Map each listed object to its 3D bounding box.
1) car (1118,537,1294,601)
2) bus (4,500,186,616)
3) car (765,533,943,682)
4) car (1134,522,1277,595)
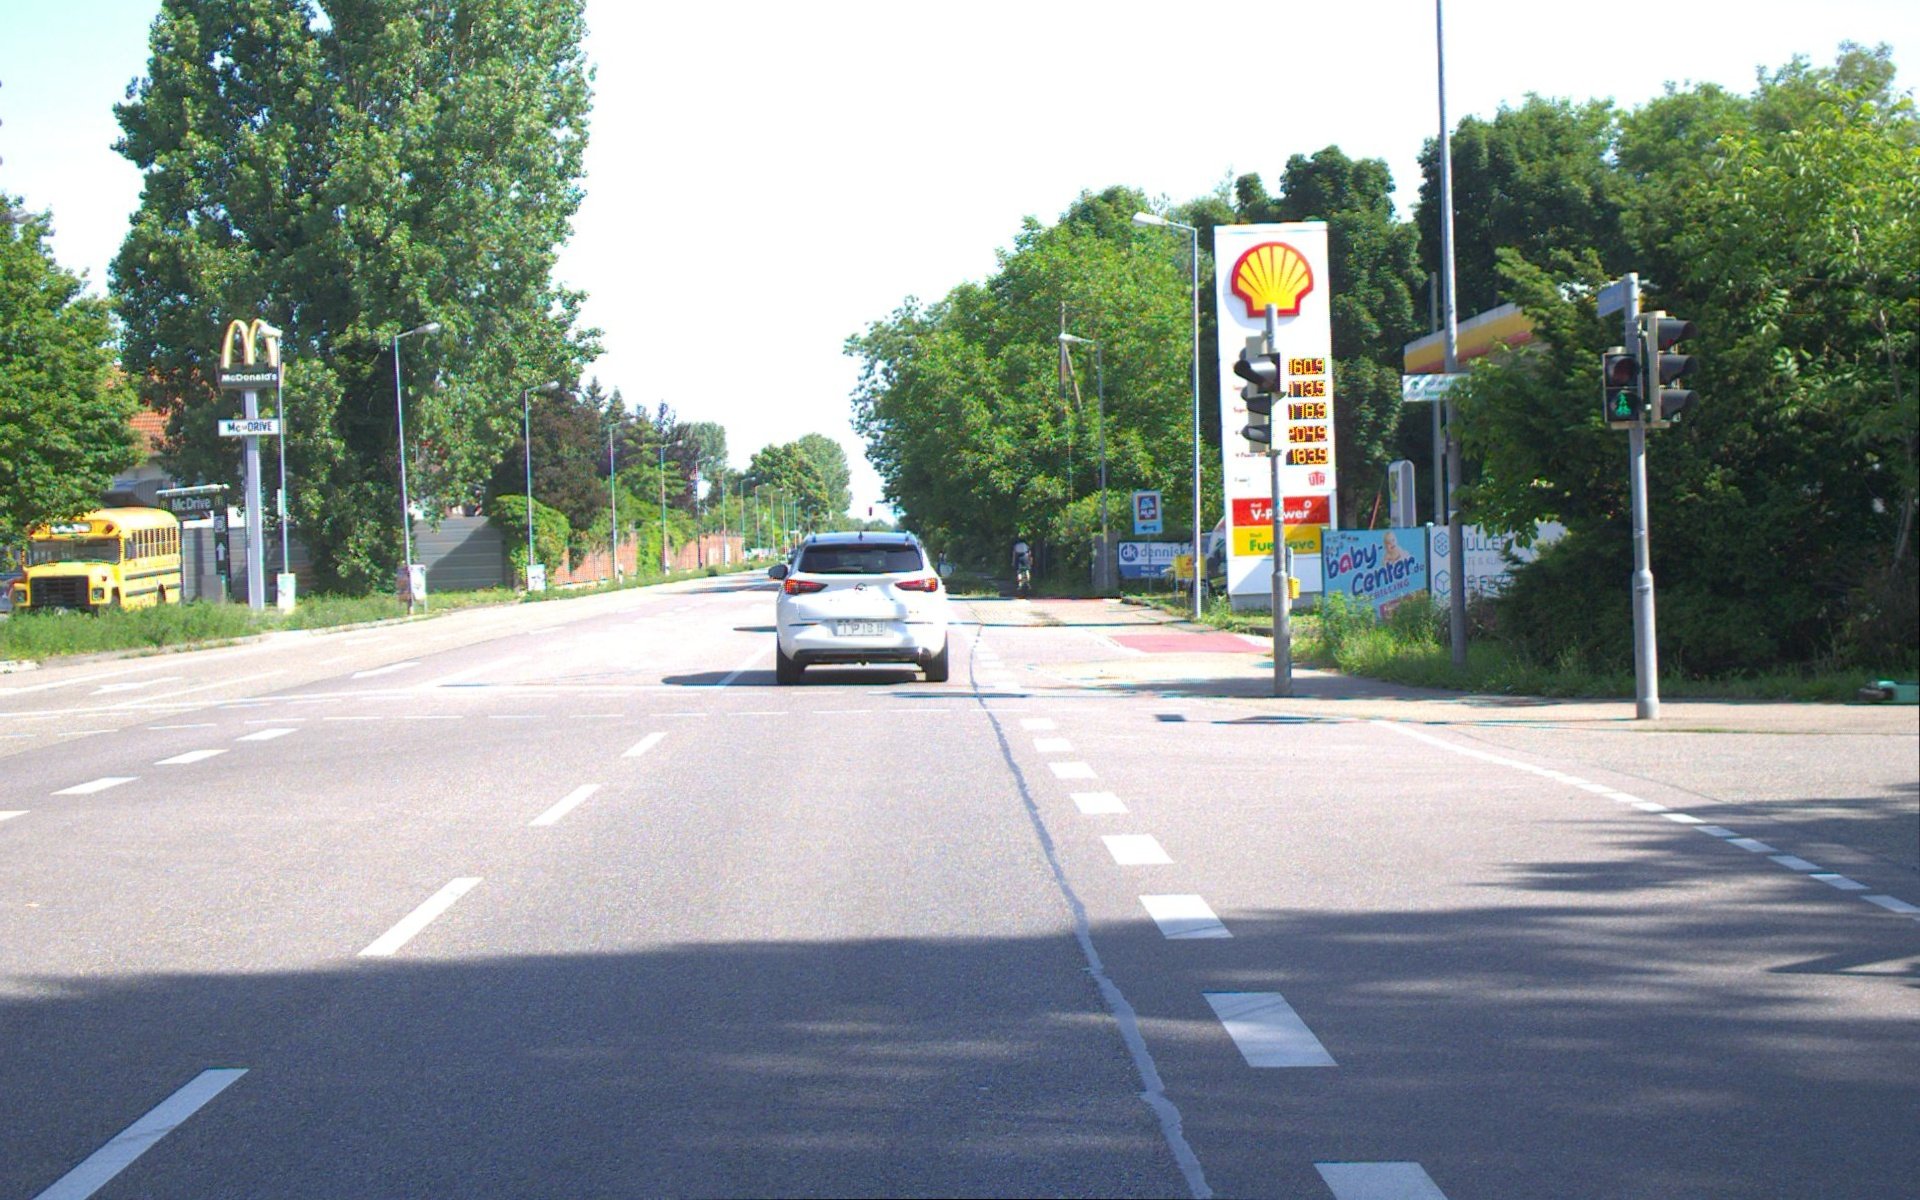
[{"bbox_3d":[5.939,-0.749,83.167,3.986,1.525,1.586,0,1,-8],"label":"car"},{"bbox_3d":[-20.944,-1.017,83.715,2.579,2.670,8.998,0,1,-3],"label":"bus"},{"bbox_3d":[-1.124,0.052,37.673,1.847,1.536,4.225,0,1,-1],"label":"car"},{"bbox_3d":[5.347,-0.891,74.997,2.729,1.525,1.574,-1,0,43],"label":"car"}]
